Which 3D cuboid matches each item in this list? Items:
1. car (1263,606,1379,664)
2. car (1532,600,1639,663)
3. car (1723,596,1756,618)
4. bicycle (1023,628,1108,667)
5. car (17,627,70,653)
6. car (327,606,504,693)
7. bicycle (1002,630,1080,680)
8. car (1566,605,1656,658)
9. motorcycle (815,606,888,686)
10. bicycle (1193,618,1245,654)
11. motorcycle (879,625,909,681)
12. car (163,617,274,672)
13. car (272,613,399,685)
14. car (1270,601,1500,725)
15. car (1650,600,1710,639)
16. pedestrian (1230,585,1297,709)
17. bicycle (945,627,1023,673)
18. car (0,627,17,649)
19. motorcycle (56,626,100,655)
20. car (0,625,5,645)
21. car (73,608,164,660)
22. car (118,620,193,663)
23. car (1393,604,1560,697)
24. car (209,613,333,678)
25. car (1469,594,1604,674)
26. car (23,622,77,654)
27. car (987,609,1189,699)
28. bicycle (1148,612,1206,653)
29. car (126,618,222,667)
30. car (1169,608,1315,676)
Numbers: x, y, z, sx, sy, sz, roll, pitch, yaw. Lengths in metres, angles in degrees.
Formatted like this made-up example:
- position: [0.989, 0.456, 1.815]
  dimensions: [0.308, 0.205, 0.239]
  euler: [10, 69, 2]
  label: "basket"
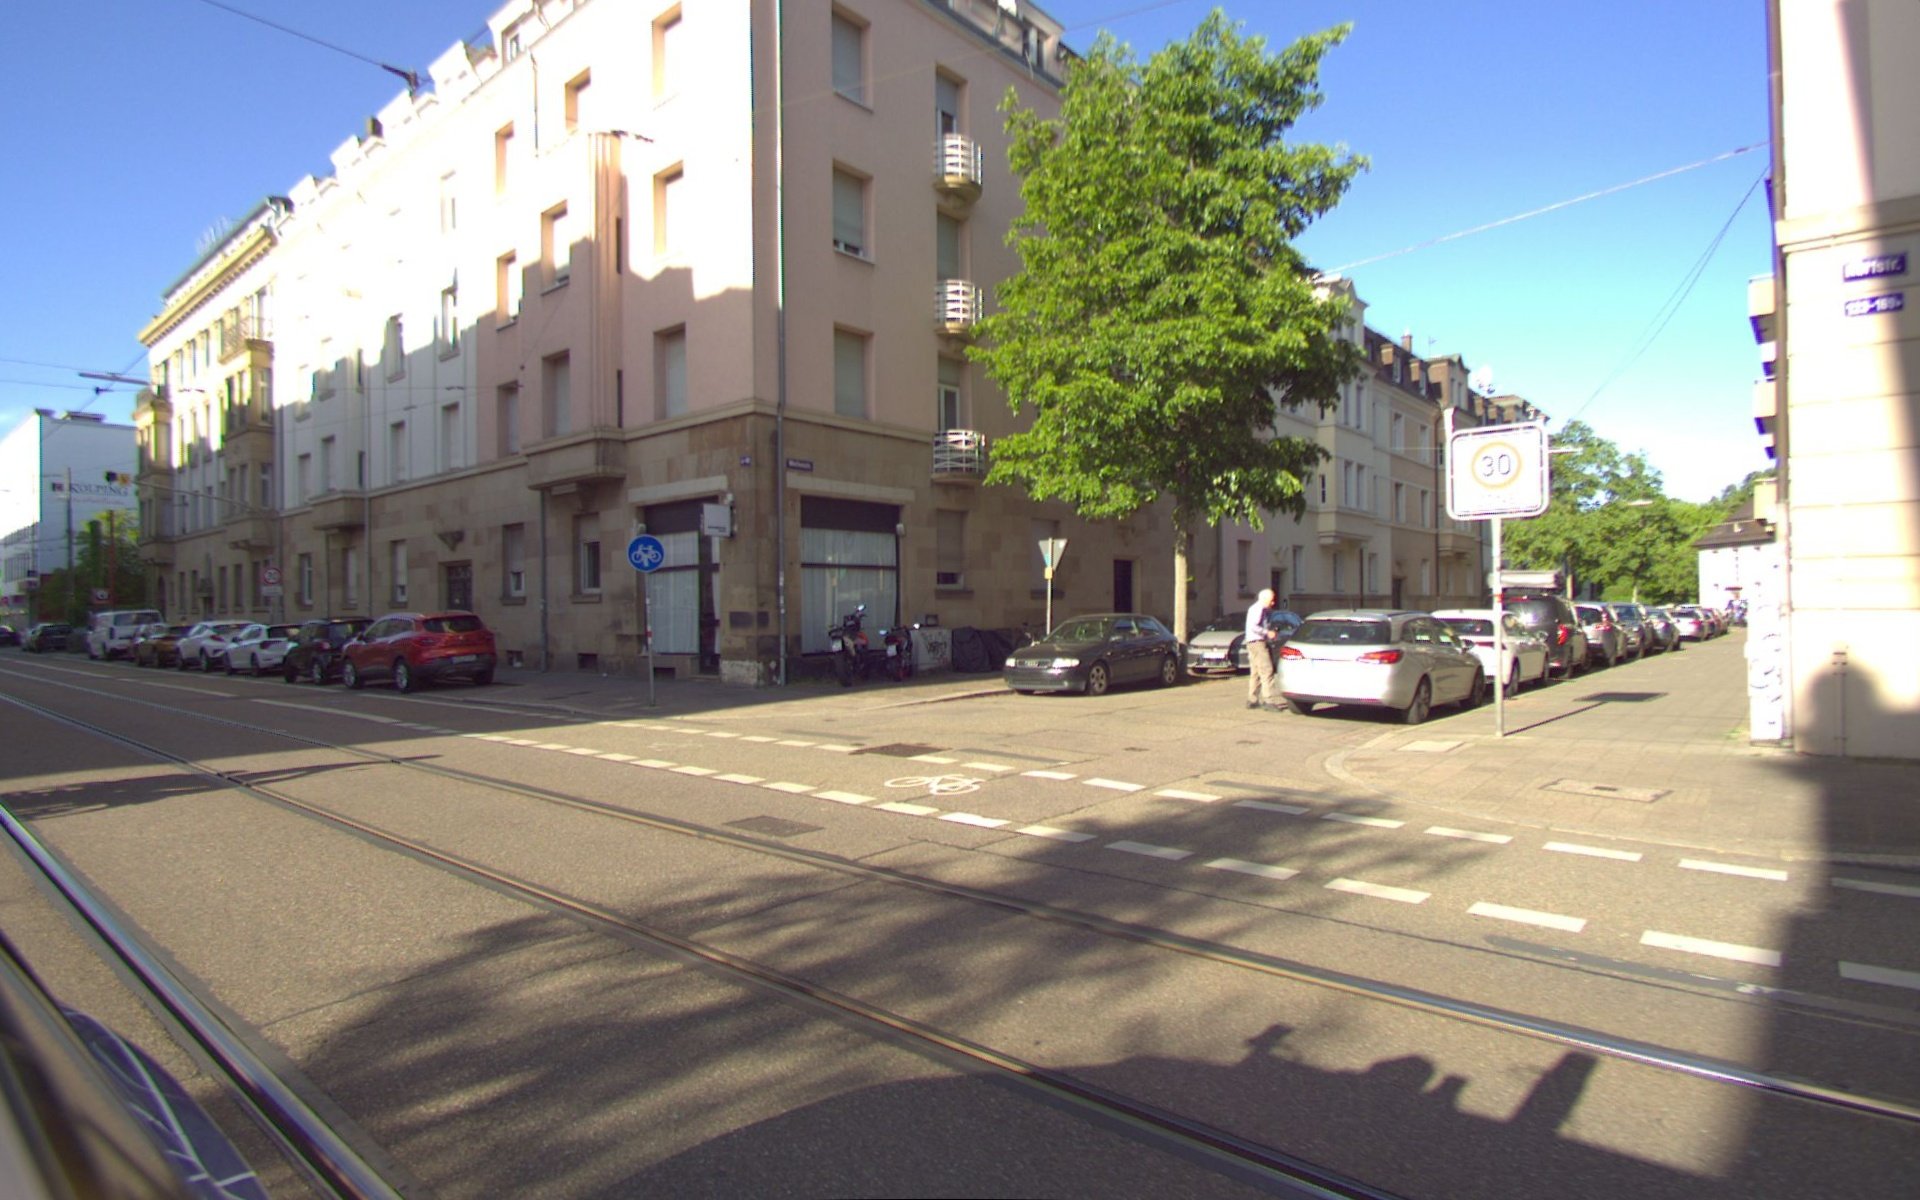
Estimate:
- position: [9.807, 0.909, 27.349]
  dimensions: [1.746, 1.432, 3.665]
  euler: [-3, -2, 40]
  label: "car"
- position: [16.521, 0.804, 26.646]
  dimensions: [1.781, 1.533, 3.946]
  euler: [-3, -2, 40]
  label: "car"
- position: [60.143, 0.559, 78.052]
  dimensions: [1.781, 1.590, 3.946]
  euler: [-3, -2, 40]
  label: "car"
- position: [2.664, 1.178, 25.303]
  dimensions: [2.439, 0.940, 0.615]
  euler: [2, -3, -41]
  label: "bicycle"
- position: [-52.432, 2.250, 57.889]
  dimensions: [4.219, 1.323, 1.765]
  euler: [-1, 1, 41]
  label: "car"
- position: [-11.727, 1.000, 21.680]
  dimensions: [4.393, 1.618, 1.766]
  euler: [-1, 1, 39]
  label: "car"
- position: [1.663, 1.100, 20.644]
  dimensions: [1.763, 0.940, 0.476]
  euler: [0, -1, -41]
  label: "bicycle"
- position: [19.986, 0.939, 31.014]
  dimensions: [1.781, 1.476, 3.946]
  euler: [-3, -2, 40]
  label: "car"
- position: [-2.118, 0.846, 19.469]
  dimensions: [0.934, 1.429, 2.032]
  euler: [-1, -1, -19]
  label: "motorcycle"
- position: [8.241, 1.138, 32.116]
  dimensions: [0.614, 1.095, 2.444]
  euler: [-1, -2, 40]
  label: "bicycle"
- position: [-1.314, 1.033, 20.383]
  dimensions: [0.549, 1.043, 2.037]
  euler: [-1, -1, -3]
  label: "motorcycle"
- position: [-23.441, 1.360, 31.956]
  dimensions: [4.361, 1.558, 1.754]
  euler: [-1, 1, 39]
  label: "car"
- position: [-15.191, 1.140, 24.584]
  dimensions: [3.018, 1.564, 1.765]
  euler: [-1, 1, 41]
  label: "car"
- position: [6.110, 0.792, 14.286]
  dimensions: [1.781, 1.476, 4.174]
  euler: [-3, -2, 40]
  label: "car"
- position: [31.835, 0.832, 44.726]
  dimensions: [1.781, 1.590, 3.946]
  euler: [-3, -2, 40]
  label: "car"
- position: [4.374, 0.662, 14.589]
  dimensions: [0.731, 1.725, 0.600]
  euler: [-2, -1, 41]
  label: "pedestrian"
- position: [0.550, 1.098, 22.651]
  dimensions: [1.763, 0.940, 0.615]
  euler: [0, -1, -41]
  label: "bicycle"
- position: [-66.710, 2.639, 69.960]
  dimensions: [4.839, 1.456, 1.765]
  euler: [-1, 1, 42]
  label: "car"
- position: [-43.535, 1.996, 49.977]
  dimensions: [0.871, 1.361, 1.963]
  euler: [-1, 0, -17]
  label: "motorcycle"
- position: [-71.206, 2.586, 73.827]
  dimensions: [4.697, 1.492, 1.765]
  euler: [-1, 1, 41]
  label: "car"
- position: [-34.968, 1.376, 42.004]
  dimensions: [5.248, 1.963, 1.953]
  euler: [-1, 1, 40]
  label: "car"
- position: [-30.814, 1.557, 38.717]
  dimensions: [3.644, 1.483, 1.586]
  euler: [-1, 1, 41]
  label: "car"
- position: [9.397, 0.857, 18.286]
  dimensions: [1.840, 1.476, 3.757]
  euler: [-3, -2, 40]
  label: "car"
- position: [-19.582, 1.254, 28.720]
  dimensions: [4.175, 1.634, 1.766]
  euler: [-1, 1, 39]
  label: "car"
- position: [12.835, 0.716, 22.421]
  dimensions: [1.858, 1.593, 3.946]
  euler: [-3, -2, 40]
  label: "car"
- position: [-48.728, 2.008, 54.162]
  dimensions: [4.610, 1.577, 1.764]
  euler: [-1, 1, 43]
  label: "car"
- position: [2.423, 0.918, 18.372]
  dimensions: [1.746, 1.405, 3.946]
  euler: [-3, -2, 40]
  label: "car"
- position: [6.470, 0.975, 30.107]
  dimensions: [0.614, 1.172, 2.444]
  euler: [-1, -2, 40]
  label: "bicycle"
- position: [-27.535, 1.456, 35.403]
  dimensions: [4.357, 1.535, 1.765]
  euler: [-1, 1, 40]
  label: "car"
- position: [6.623, 0.933, 23.513]
  dimensions: [1.746, 1.405, 3.946]
  euler: [-3, -2, 40]
  label: "car"
